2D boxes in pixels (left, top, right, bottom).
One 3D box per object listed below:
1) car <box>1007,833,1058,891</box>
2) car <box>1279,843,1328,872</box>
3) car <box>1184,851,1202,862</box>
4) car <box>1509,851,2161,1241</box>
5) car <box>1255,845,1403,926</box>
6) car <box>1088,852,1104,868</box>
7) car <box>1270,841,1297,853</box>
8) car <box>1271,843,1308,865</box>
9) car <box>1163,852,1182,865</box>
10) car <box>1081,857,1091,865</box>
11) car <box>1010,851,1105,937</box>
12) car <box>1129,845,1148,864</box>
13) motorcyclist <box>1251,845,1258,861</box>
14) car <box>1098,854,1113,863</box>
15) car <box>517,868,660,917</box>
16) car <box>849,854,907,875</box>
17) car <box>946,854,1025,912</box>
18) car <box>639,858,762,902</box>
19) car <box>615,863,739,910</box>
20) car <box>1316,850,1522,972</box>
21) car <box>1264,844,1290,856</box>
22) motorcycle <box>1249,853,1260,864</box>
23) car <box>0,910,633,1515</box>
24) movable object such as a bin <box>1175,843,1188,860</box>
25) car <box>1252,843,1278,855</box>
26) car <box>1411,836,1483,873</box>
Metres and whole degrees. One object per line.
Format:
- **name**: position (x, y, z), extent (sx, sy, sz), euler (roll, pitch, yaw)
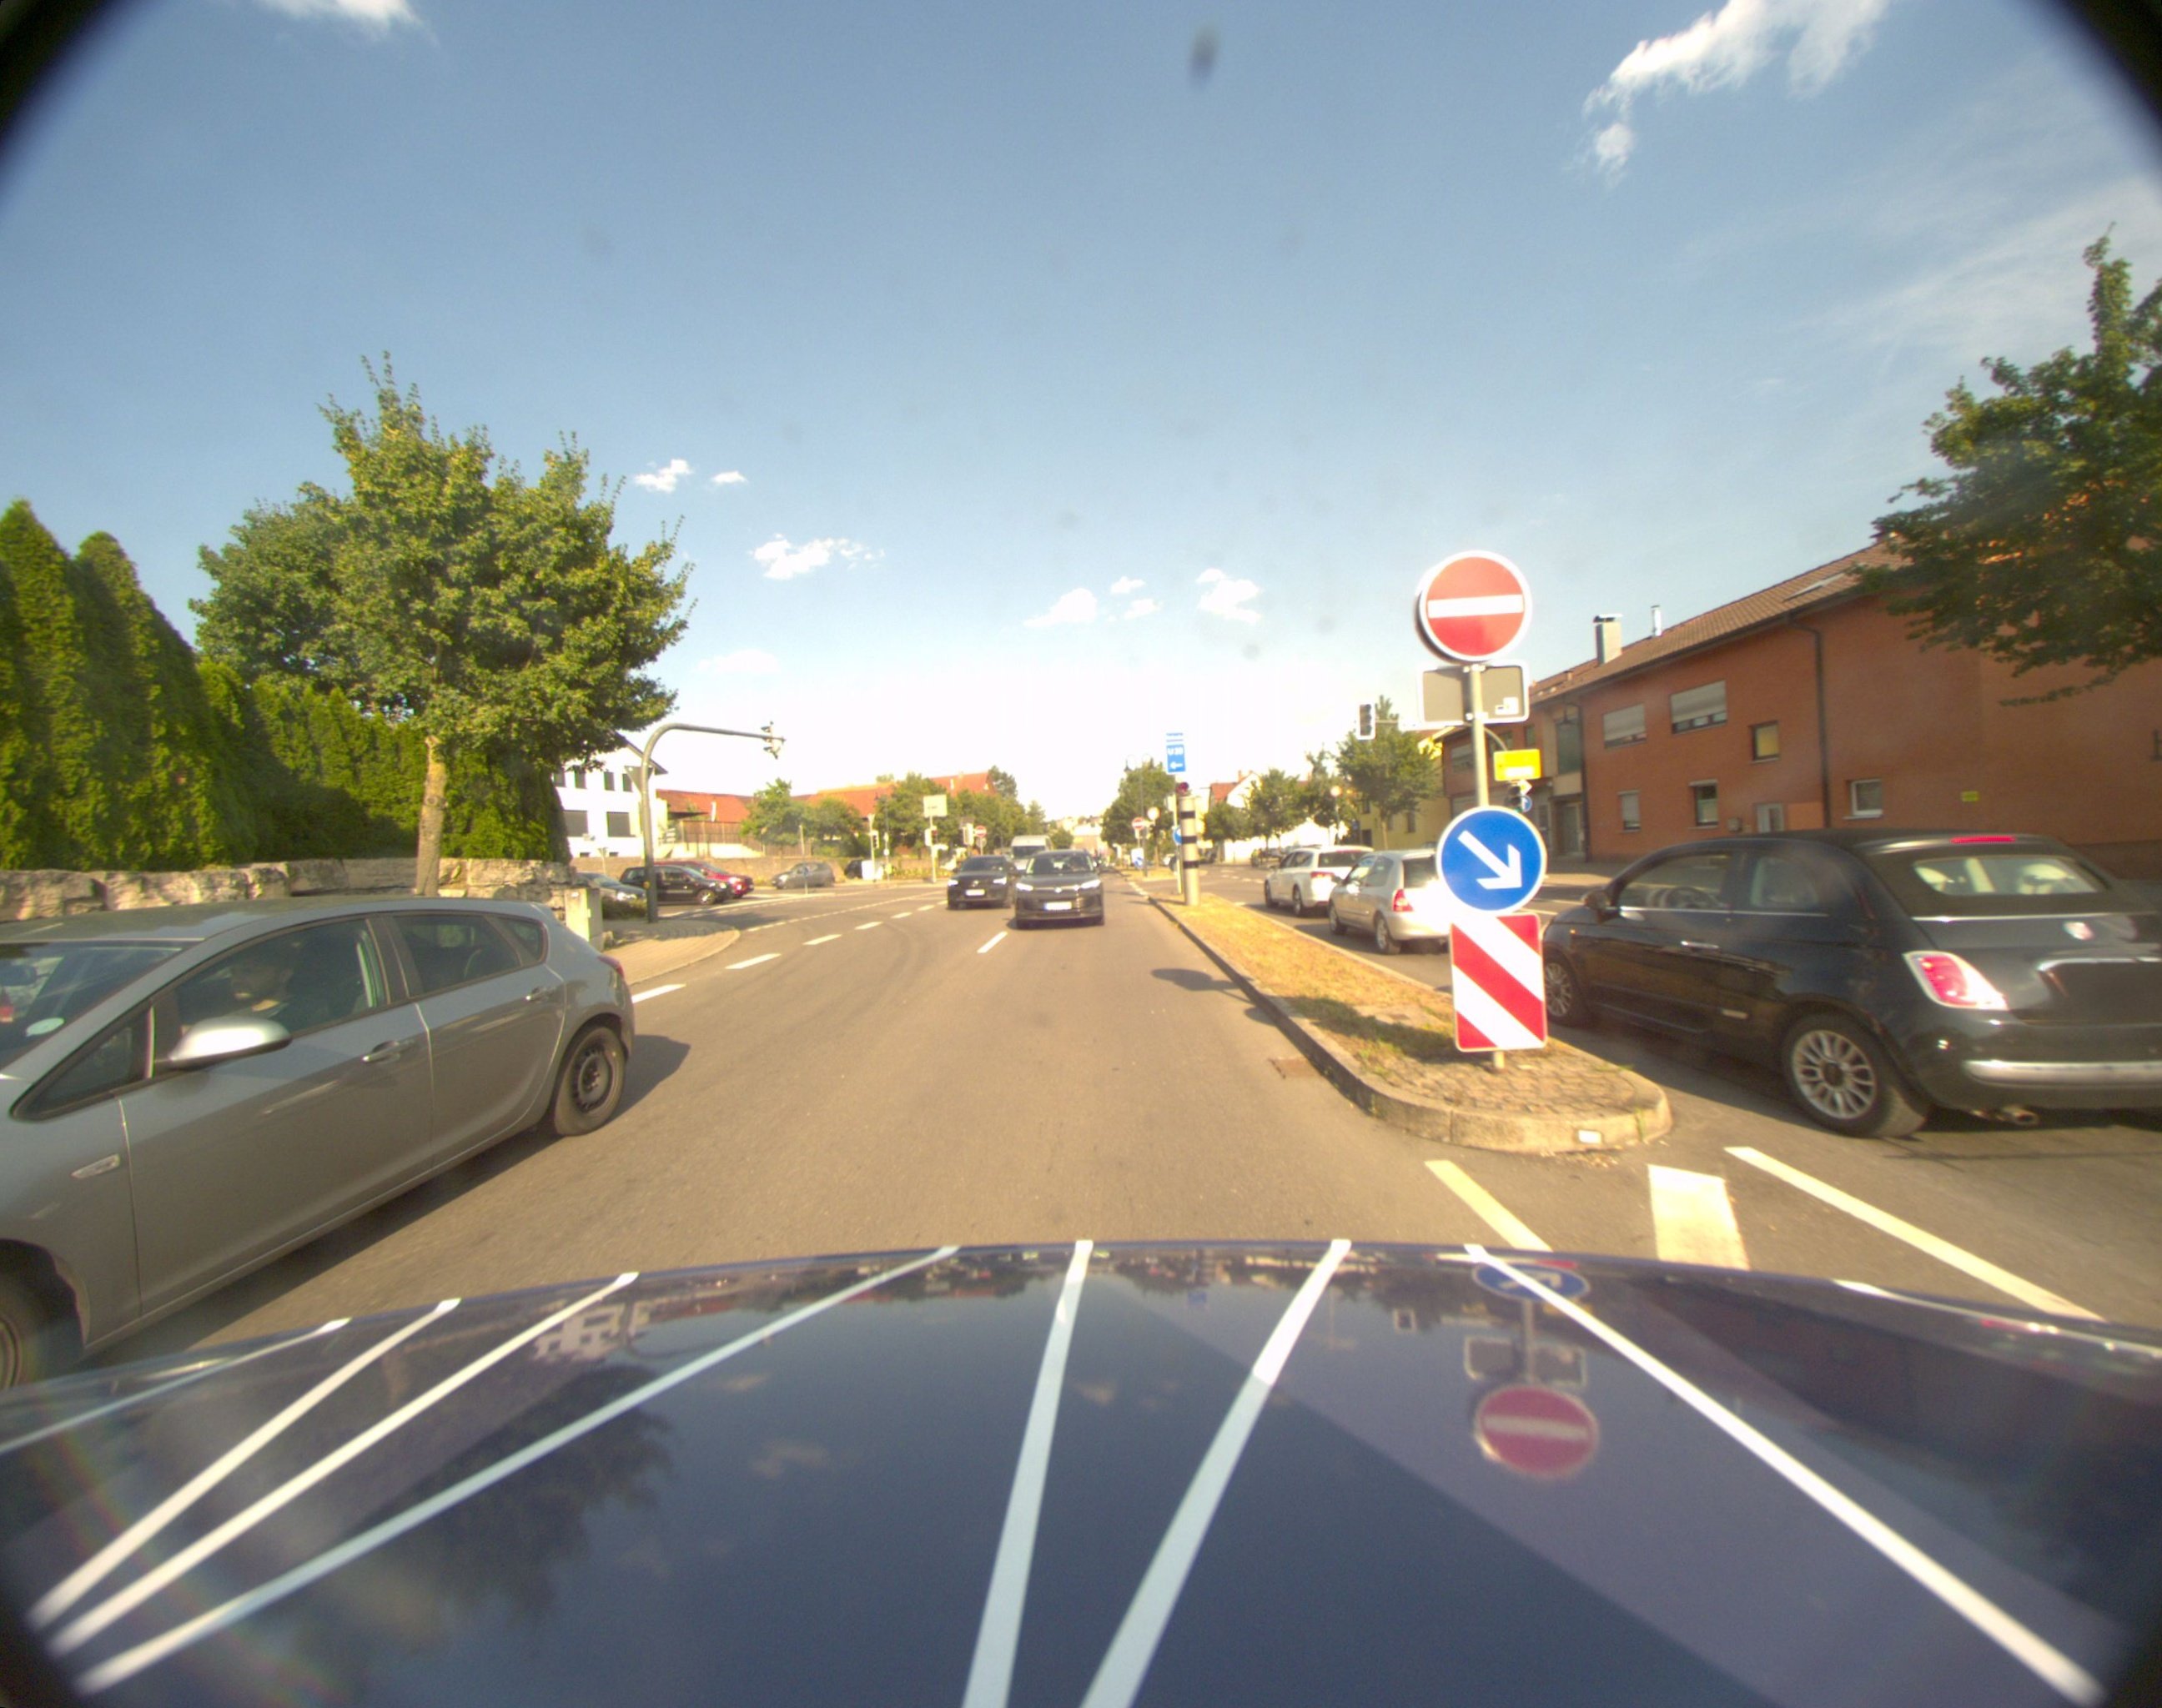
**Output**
- **car**: position (-2.369, 0.336, 38.972), extent (2.040, 2.642, 6.649), euler (-2, 0, 1)
- **car**: position (13.399, 0.177, 45.984), extent (1.690, 1.602, 4.413), euler (-3, 0, 1)
- **car**: position (14.786, 0.305, 100.330), extent (1.761, 1.403, 4.000), euler (-3, 0, 1)
- **car**: position (4.351, 0.746, 4.671), extent (1.536, 1.453, 3.506), euler (-3, 0, 3)
- **car**: position (5.297, 0.607, 16.905), extent (1.839, 1.480, 4.566), euler (-3, 0, 1)
- **car**: position (1.922, 0.761, 95.707), extent (1.816, 1.861, 4.001), euler (-3, 0, 4)
- **car**: position (26.648, -0.931, 99.866), extent (3.438, 1.534, 1.617), euler (-2, 0, -37)
- **car**: position (16.235, -0.018, 59.289), extent (1.859, 1.586, 4.461), euler (-3, 0, 4)
- **car**: position (11.025, 0.530, 91.980), extent (1.761, 1.403, 4.000), euler (-3, 0, 1)
- **car**: position (0.841, 1.154, 126.215), extent (1.530, 1.354, 2.793), euler (-3, 0, 4)
- **car**: position (-0.401, 0.782, 16.844), extent (1.768, 1.582, 4.057), euler (-3, 0, 2)
- **car**: position (8.238, 0.084, 109.494), extent (2.090, 2.461, 5.478), euler (-3, 0, -1)
- **motorcyclist**: position (13.672, -0.072, 59.956), extent (0.404, 1.221, 0.461), euler (-3, 0, -1)
- **car**: position (4.374, 0.794, 135.857), extent (1.780, 1.516, 3.843), euler (-3, 0, 15)
- **car**: position (-16.223, 1.256, 25.180), extent (3.608, 1.441, 1.626), euler (-1, 1, -2)
- **car**: position (-16.172, 0.852, 60.455), extent (4.072, 1.448, 1.680), euler (-3, 0, 14)
- **car**: position (-2.880, 0.832, 23.801), extent (1.792, 1.596, 4.057), euler (-2, 0, 2)
- **car**: position (-16.219, 1.083, 32.559), extent (4.251, 1.616, 1.861), euler (-3, 0, -4)
- **car**: position (-15.026, 1.187, 28.494), extent (3.801, 1.533, 1.596), euler (-2, 1, -17)
- **car**: position (4.709, 0.699, 11.137), extent (1.593, 1.419, 3.578), euler (-2, 1, 4)
- **car**: position (26.439, -0.545, 102.656), extent (3.437, 1.555, 1.583), euler (-3, 0, -37)
- **motorcycle**: position (13.687, 0.364, 59.927), extent (0.413, 0.855, 1.763), euler (-3, 0, 0)
- **car**: position (-3.708, 1.069, 2.775), extent (1.652, 1.414, 4.143), euler (-1, 0, 0)
- **movable object such as a bin**: position (15.128, -0.322, 114.747), extent (1.556, 2.447, 4.978), euler (-2, 0, 3)
- **car**: position (25.406, -0.696, 104.950), extent (3.417, 1.616, 1.857), euler (-1, 0, -40)
- **car**: position (16.516, 0.021, 34.516), extent (1.595, 1.430, 3.776), euler (-7, 0, 5)
